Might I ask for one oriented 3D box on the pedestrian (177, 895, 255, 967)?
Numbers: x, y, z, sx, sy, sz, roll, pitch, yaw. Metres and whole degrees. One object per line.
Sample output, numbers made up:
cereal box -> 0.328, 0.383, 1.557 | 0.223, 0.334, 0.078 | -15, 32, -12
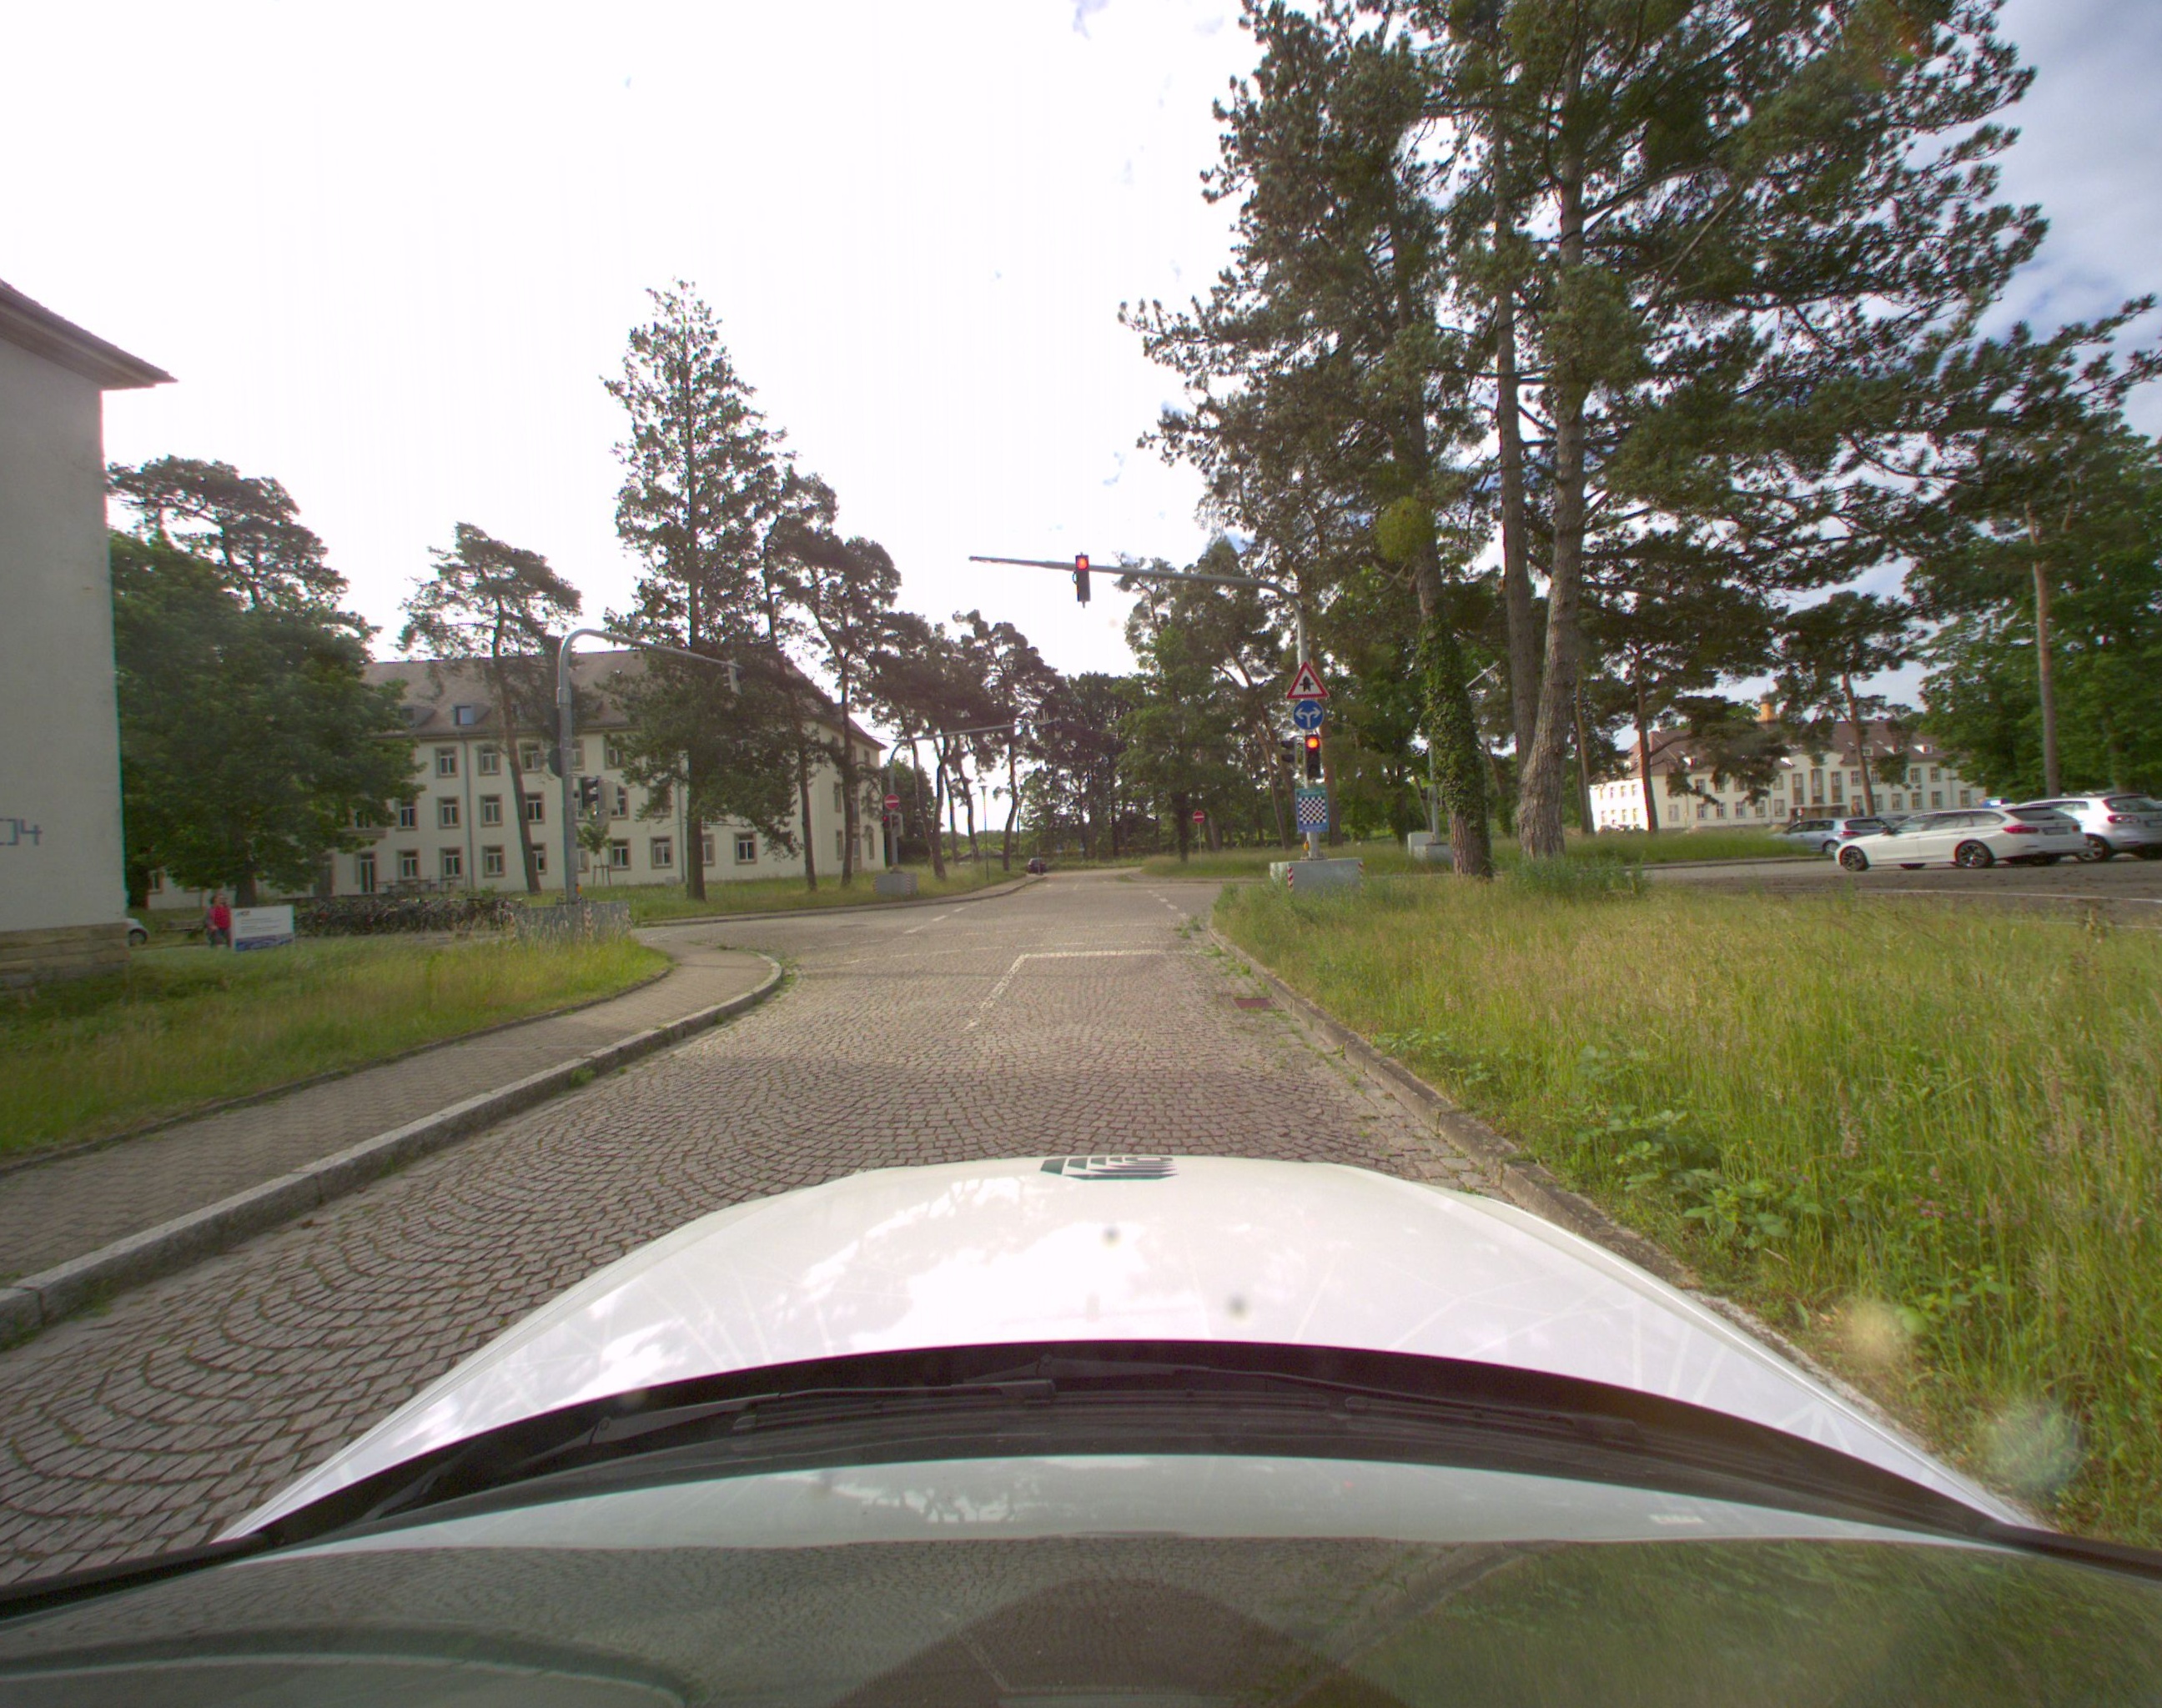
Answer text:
pedestrian -> -21.502, 1.899, 20.268 | 0.856, 1.668, 0.940 | -3, 0, 2

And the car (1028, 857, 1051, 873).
car -> -4.261, 1.122, 83.643 | 1.986, 1.508, 4.002 | -1, 0, 2

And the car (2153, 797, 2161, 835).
car -> 44.787, -1.591, 31.089 | 1.748, 1.524, 4.444 | -3, 0, -2

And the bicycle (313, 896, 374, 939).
bicycle -> -25.043, 2.134, 27.687 | 0.447, 1.283, 1.695 | -3, 0, 0

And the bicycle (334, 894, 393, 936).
bicycle -> -24.380, 2.061, 27.715 | 0.447, 1.283, 1.695 | -3, 0, 0

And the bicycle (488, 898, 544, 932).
bicycle -> -18.290, 1.979, 26.386 | 1.454, 0.996, 0.452 | -3, 0, 1

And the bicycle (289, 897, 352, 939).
bicycle -> -25.997, 2.163, 27.872 | 0.441, 1.283, 1.785 | -3, 0, 0

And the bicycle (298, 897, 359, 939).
bicycle -> -25.529, 2.149, 27.675 | 0.447, 1.283, 1.695 | -3, 0, 0

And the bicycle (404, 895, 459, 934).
bicycle -> -22.084, 2.041, 27.719 | 0.447, 1.178, 1.695 | -3, 0, 0

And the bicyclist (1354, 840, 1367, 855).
bicyclist -> 29.528, -0.728, 86.151 | 0.972, 1.510, 0.806 | -3, 0, -3

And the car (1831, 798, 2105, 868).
car -> 21.372, -0.428, 19.961 | 1.748, 1.415, 4.443 | -3, -1, -2

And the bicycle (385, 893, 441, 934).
bicycle -> -22.798, 2.012, 27.825 | 0.447, 1.283, 1.695 | -3, 0, 0

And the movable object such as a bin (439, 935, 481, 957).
movable object such as a bin -> -16.534, 2.454, 21.700 | 0.747, 0.503, 0.444 | -3, 0, -1

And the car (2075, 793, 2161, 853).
car -> 29.305, -0.861, 20.974 | 1.862, 1.577, 4.444 | -3, 0, -2

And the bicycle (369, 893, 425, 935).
bicycle -> -23.302, 2.028, 27.783 | 0.447, 1.283, 1.695 | -3, 0, 0

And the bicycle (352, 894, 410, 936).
bicycle -> -23.817, 2.043, 27.739 | 0.447, 1.283, 1.695 | -3, 0, 0

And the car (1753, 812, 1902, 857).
car -> 28.792, -0.705, 31.632 | 1.745, 1.524, 4.450 | -3, 0, 2

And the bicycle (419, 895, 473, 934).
bicycle -> -21.598, 2.039, 27.740 | 0.447, 1.178, 1.695 | -3, 0, 0

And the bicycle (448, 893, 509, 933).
bicycle -> -20.503, 1.993, 27.756 | 0.573, 1.178, 1.953 | -3, 0, 0

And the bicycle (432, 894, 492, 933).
bicycle -> -21.086, 2.011, 27.798 | 0.526, 1.178, 1.930 | -3, 0, 0

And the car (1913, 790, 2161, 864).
car -> 23.947, -0.622, 20.224 | 1.862, 1.577, 4.444 | -3, 0, -2

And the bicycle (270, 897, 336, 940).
bicycle -> -26.462, 2.180, 27.739 | 0.447, 1.283, 1.827 | -3, 0, 0

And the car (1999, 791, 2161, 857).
car -> 26.581, -0.756, 20.480 | 1.862, 1.577, 4.444 | -3, 0, -2

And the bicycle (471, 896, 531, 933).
bicycle -> -19.805, 2.039, 27.848 | 0.573, 1.078, 1.996 | -3, 0, 0
